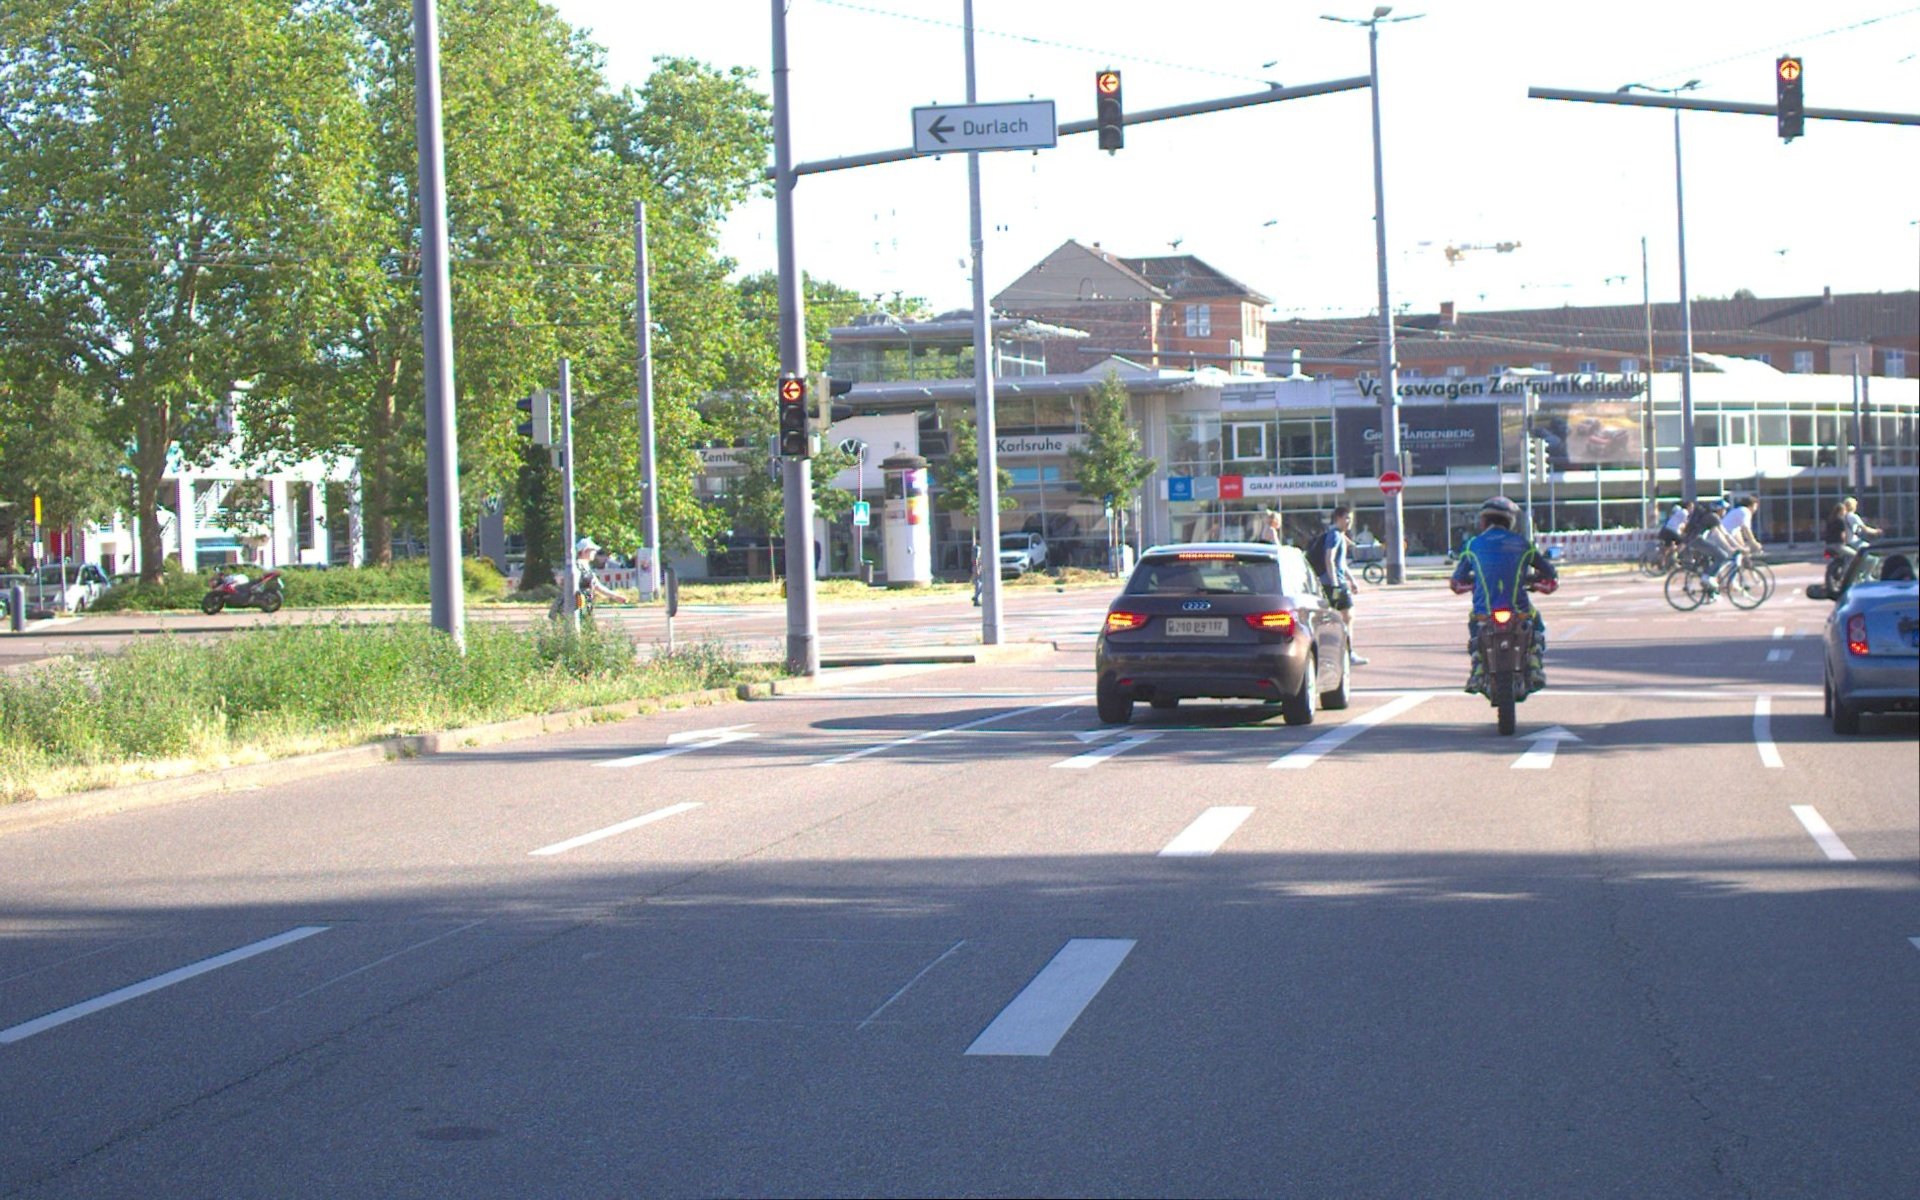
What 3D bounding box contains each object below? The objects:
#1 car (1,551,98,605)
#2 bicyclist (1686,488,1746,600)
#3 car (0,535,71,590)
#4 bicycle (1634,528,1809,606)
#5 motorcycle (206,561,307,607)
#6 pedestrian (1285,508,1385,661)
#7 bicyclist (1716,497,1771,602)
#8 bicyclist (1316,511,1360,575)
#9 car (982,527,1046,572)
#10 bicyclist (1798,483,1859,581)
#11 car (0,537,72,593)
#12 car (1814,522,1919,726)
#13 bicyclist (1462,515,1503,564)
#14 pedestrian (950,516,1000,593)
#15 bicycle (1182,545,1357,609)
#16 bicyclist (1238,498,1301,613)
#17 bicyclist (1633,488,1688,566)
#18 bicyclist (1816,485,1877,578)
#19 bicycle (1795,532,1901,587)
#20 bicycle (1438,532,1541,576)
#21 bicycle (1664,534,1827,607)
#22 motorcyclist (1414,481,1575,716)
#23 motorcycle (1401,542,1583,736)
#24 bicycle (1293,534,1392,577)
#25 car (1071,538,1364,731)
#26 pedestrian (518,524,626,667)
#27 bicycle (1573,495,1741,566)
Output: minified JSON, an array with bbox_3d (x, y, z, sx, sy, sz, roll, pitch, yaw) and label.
[{"bbox_3d":[-25.947,-0.646,98.061,1.846,1.447,4.001,-1,1,-3],"label":"car"},{"bbox_3d":[11.738,-0.877,53.393,0.649,1.685,0.860,-1,3,-7],"label":"bicyclist"},{"bbox_3d":[-34.001,-1.330,123.002,3.986,1.850,1.853,-2,3,-22],"label":"car"},{"bbox_3d":[11.825,-0.517,53.407,2.492,1.129,0.860,-1,3,-8],"label":"bicycle"},{"bbox_3d":[-17.158,-0.384,83.875,2.284,1.050,0.687,-1,3,0],"label":"motorcycle"},{"bbox_3d":[4.196,-0.176,38.457,0.826,1.666,0.699,-2,1,-26],"label":"pedestrian"},{"bbox_3d":[12.973,-0.843,56.932,0.649,1.685,0.860,-1,3,-5],"label":"bicyclist"},{"bbox_3d":[9.381,-1.416,85.347,0.923,1.554,0.860,-1,3,-6],"label":"bicyclist"},{"bbox_3d":[2.061,-1.935,130.867,1.994,1.529,4.000,-1,3,7],"label":"car"},{"bbox_3d":[15.887,-1.237,62.873,0.583,1.771,0.866,-2,1,-44],"label":"bicyclist"},{"bbox_3d":[-33.345,-1.218,120.570,3.986,1.850,1.853,-2,3,-22],"label":"car"},{"bbox_3d":[7.594,0.128,26.144,1.802,1.439,3.975,0,1,19],"label":"car"},{"bbox_3d":[12.595,-1.454,82.838,0.712,1.139,0.838,-2,3,-13],"label":"bicyclist"},{"bbox_3d":[0.364,-1.088,82.177,0.989,1.810,0.920,0,3,11],"label":"pedestrian"},{"bbox_3d":[4.664,-0.349,51.912,2.492,0.871,0.860,-1,3,-8],"label":"bicycle"},{"bbox_3d":[4.672,-0.681,51.894,0.745,1.685,0.860,-1,3,-8],"label":"bicyclist"},{"bbox_3d":[17.632,-1.843,86.543,1.070,1.894,1.123,-1,3,-5],"label":"bicyclist"},{"bbox_3d":[16.329,-1.271,63.319,0.859,1.685,0.650,2,4,44],"label":"bicyclist"},{"bbox_3d":[16.365,-0.758,63.348,0.859,0.902,2.298,2,4,44],"label":"bicycle"},{"bbox_3d":[12.766,-1.118,82.890,2.295,0.956,0.860,-2,3,-12],"label":"bicycle"},{"bbox_3d":[13.003,-0.490,56.944,2.492,1.129,0.860,-1,3,-5],"label":"bicycle"},{"bbox_3d":[4.002,-0.012,25.682,1.097,1.715,0.936,0,1,14],"label":"motorcyclist"},{"bbox_3d":[4.007,0.258,25.703,1.097,1.372,2.651,0,1,14],"label":"motorcycle"},{"bbox_3d":[9.500,-1.110,85.367,2.295,0.976,0.860,-1,3,-5],"label":"bicycle"},{"bbox_3d":[2.186,0.226,28.161,1.802,1.439,3.976,0,1,13],"label":"car"},{"bbox_3d":[-4.450,-0.056,39.480,1.092,1.601,0.699,-1,3,3],"label":"pedestrian"},{"bbox_3d":[17.533,-1.754,86.529,3.986,1.684,1.139,-1,3,-5],"label":"bicycle"}]
